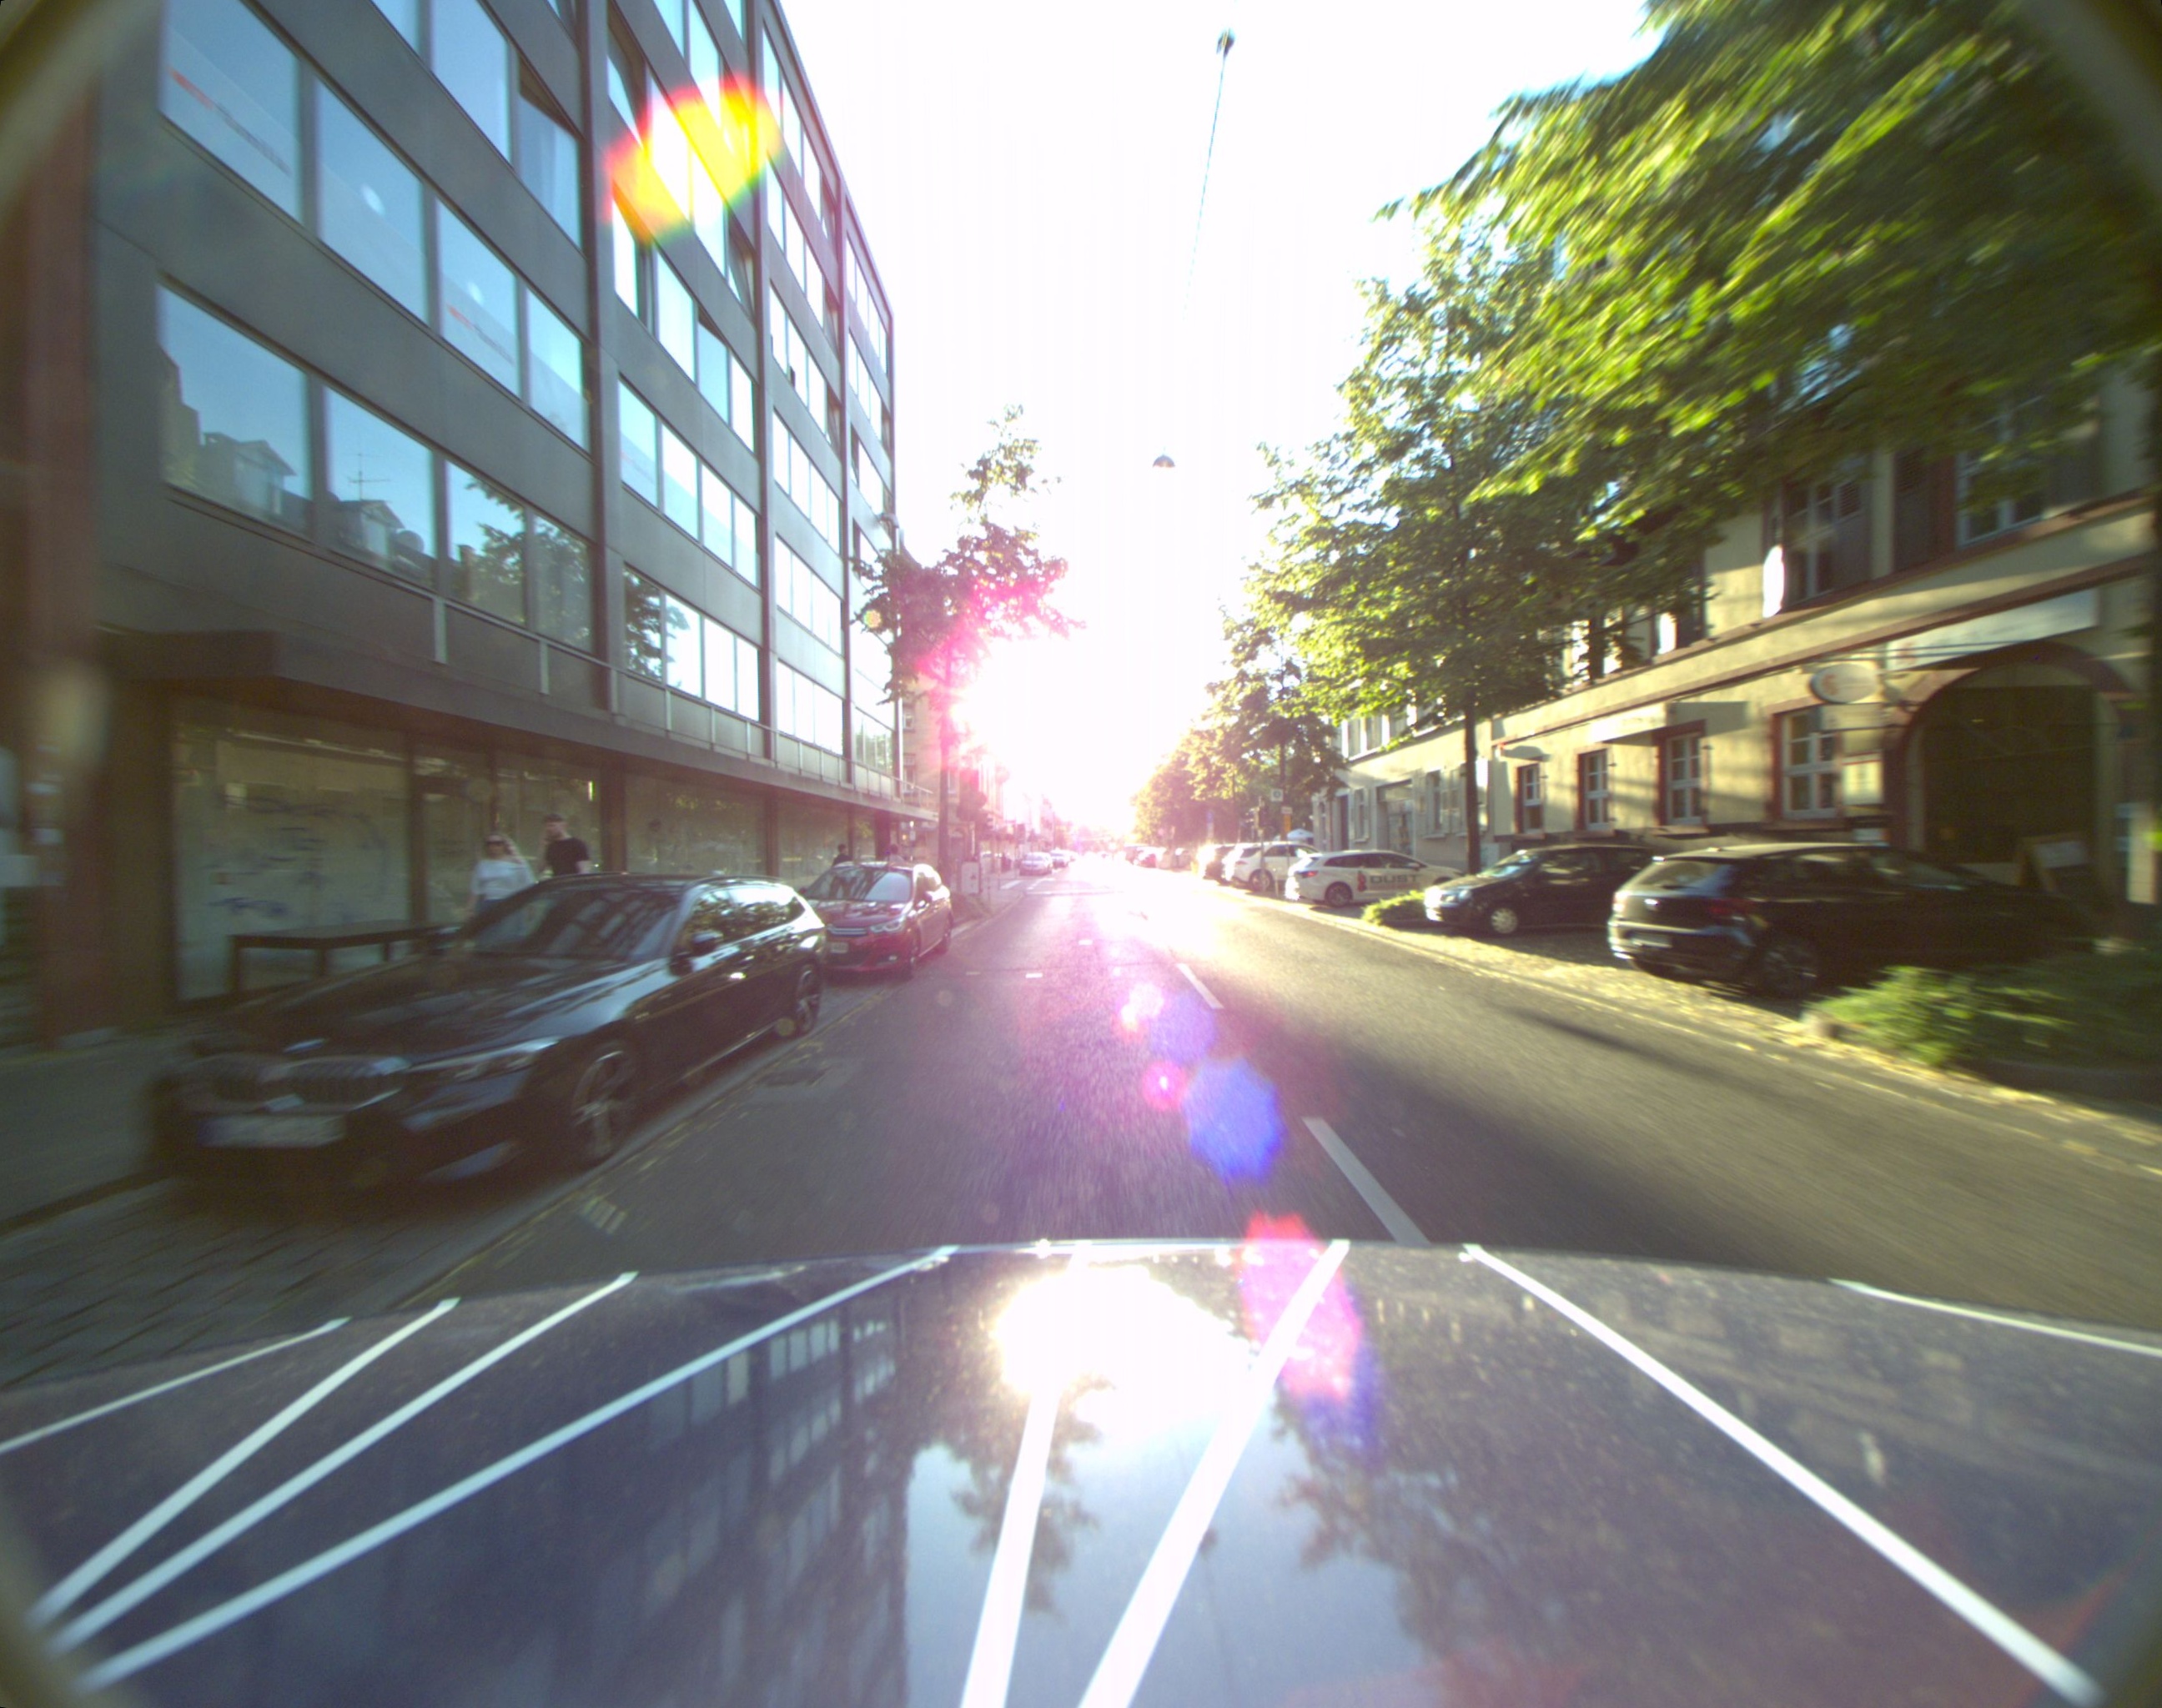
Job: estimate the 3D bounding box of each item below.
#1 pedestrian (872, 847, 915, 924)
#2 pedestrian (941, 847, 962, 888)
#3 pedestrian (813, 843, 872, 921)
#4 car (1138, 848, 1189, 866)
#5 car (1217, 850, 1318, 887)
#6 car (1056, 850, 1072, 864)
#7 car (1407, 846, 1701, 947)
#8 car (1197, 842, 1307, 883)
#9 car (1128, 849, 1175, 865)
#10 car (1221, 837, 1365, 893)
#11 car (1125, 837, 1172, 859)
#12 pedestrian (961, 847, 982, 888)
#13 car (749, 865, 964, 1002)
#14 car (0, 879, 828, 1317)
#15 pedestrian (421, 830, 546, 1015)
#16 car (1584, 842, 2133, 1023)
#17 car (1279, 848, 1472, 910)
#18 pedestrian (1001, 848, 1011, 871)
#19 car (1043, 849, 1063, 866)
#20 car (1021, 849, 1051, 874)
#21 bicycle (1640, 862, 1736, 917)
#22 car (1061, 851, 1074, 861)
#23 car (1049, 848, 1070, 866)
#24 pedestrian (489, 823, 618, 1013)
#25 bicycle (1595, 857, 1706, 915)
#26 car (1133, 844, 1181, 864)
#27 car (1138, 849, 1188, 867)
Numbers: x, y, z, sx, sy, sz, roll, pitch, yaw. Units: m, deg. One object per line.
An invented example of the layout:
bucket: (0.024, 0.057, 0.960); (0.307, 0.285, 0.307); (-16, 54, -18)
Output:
pedestrian: (-4.489, 0.731, 18.247); (0.731, 1.775, 0.870); (3, 1, 1)
pedestrian: (-5.632, 0.593, 33.014); (0.756, 1.748, 0.812); (-1, 1, 1)
pedestrian: (-5.697, 0.651, 18.193); (1.049, 1.775, 0.945); (2, 1, 1)
car: (7.457, 0.237, 68.310); (4.579, 1.548, 1.809); (-1, 0, -37)
car: (7.867, 0.590, 32.293); (3.825, 1.453, 1.821); (-2, 0, 2)
car: (-2.124, 0.347, 96.375); (1.758, 1.638, 3.793); (2, 0, 1)
car: (7.837, 0.676, 12.894); (3.794, 1.440, 1.790); (-3, 0, 3)
car: (7.799, 0.374, 34.959); (4.567, 1.772, 1.946); (-1, 1, 0)
car: (7.590, 0.323, 82.091); (4.577, 1.573, 2.131); (-1, 0, -28)
car: (7.755, 0.383, 28.147); (4.718, 1.800, 2.053); (-2, 0, 2)
car: (7.546, -0.708, 85.255); (4.782, 2.344, 2.153); (-1, 0, -27)
pedestrian: (-4.703, 0.581, 32.705); (0.756, 1.748, 0.812); (-1, 1, 1)
car: (-2.994, 0.963, 11.261); (1.726, 1.484, 4.752); (1, 0, 0)
car: (-3.344, 1.002, 5.092); (1.779, 1.462, 4.417); (1, 0, 0)
pedestrian: (-6.163, 0.670, 7.879); (0.590, 1.799, 0.836); (2, 1, 1)
car: (7.704, 0.712, 7.807); (3.925, 1.440, 1.697); (-3, 0, -2)
car: (7.729, 0.638, 20.244); (4.393, 1.414, 1.822); (-2, 0, 1)
pedestrian: (-5.558, 0.423, 56.413); (0.599, 1.653, 0.603); (1, 1, 7)
car: (-2.748, 0.352, 76.501); (1.758, 1.638, 3.793); (2, 0, 1)
car: (-3.169, 0.514, 53.876); (1.758, 1.638, 3.793); (2, 0, 1)
bicycle: (12.041, 0.683, 15.140); (0.622, 0.983, 1.734); (-3, 0, 5)
car: (-2.090, 0.296, 117.205); (1.804, 1.570, 4.403); (1, 0, 1)
car: (-2.346, 0.280, 84.565); (1.867, 1.900, 4.256); (2, 0, 4)
pedestrian: (-5.480, 0.628, 7.949); (0.627, 1.857, 0.976); (2, 1, 1)
bicycle: (11.901, 0.624, 16.001); (0.712, 1.093, 2.364); (-3, 0, 5)
car: (7.517, -0.001, 75.064); (4.579, 1.922, 1.896); (-1, 0, -37)
car: (7.775, 0.354, 71.793); (4.579, 1.623, 1.896); (-1, 0, -37)
